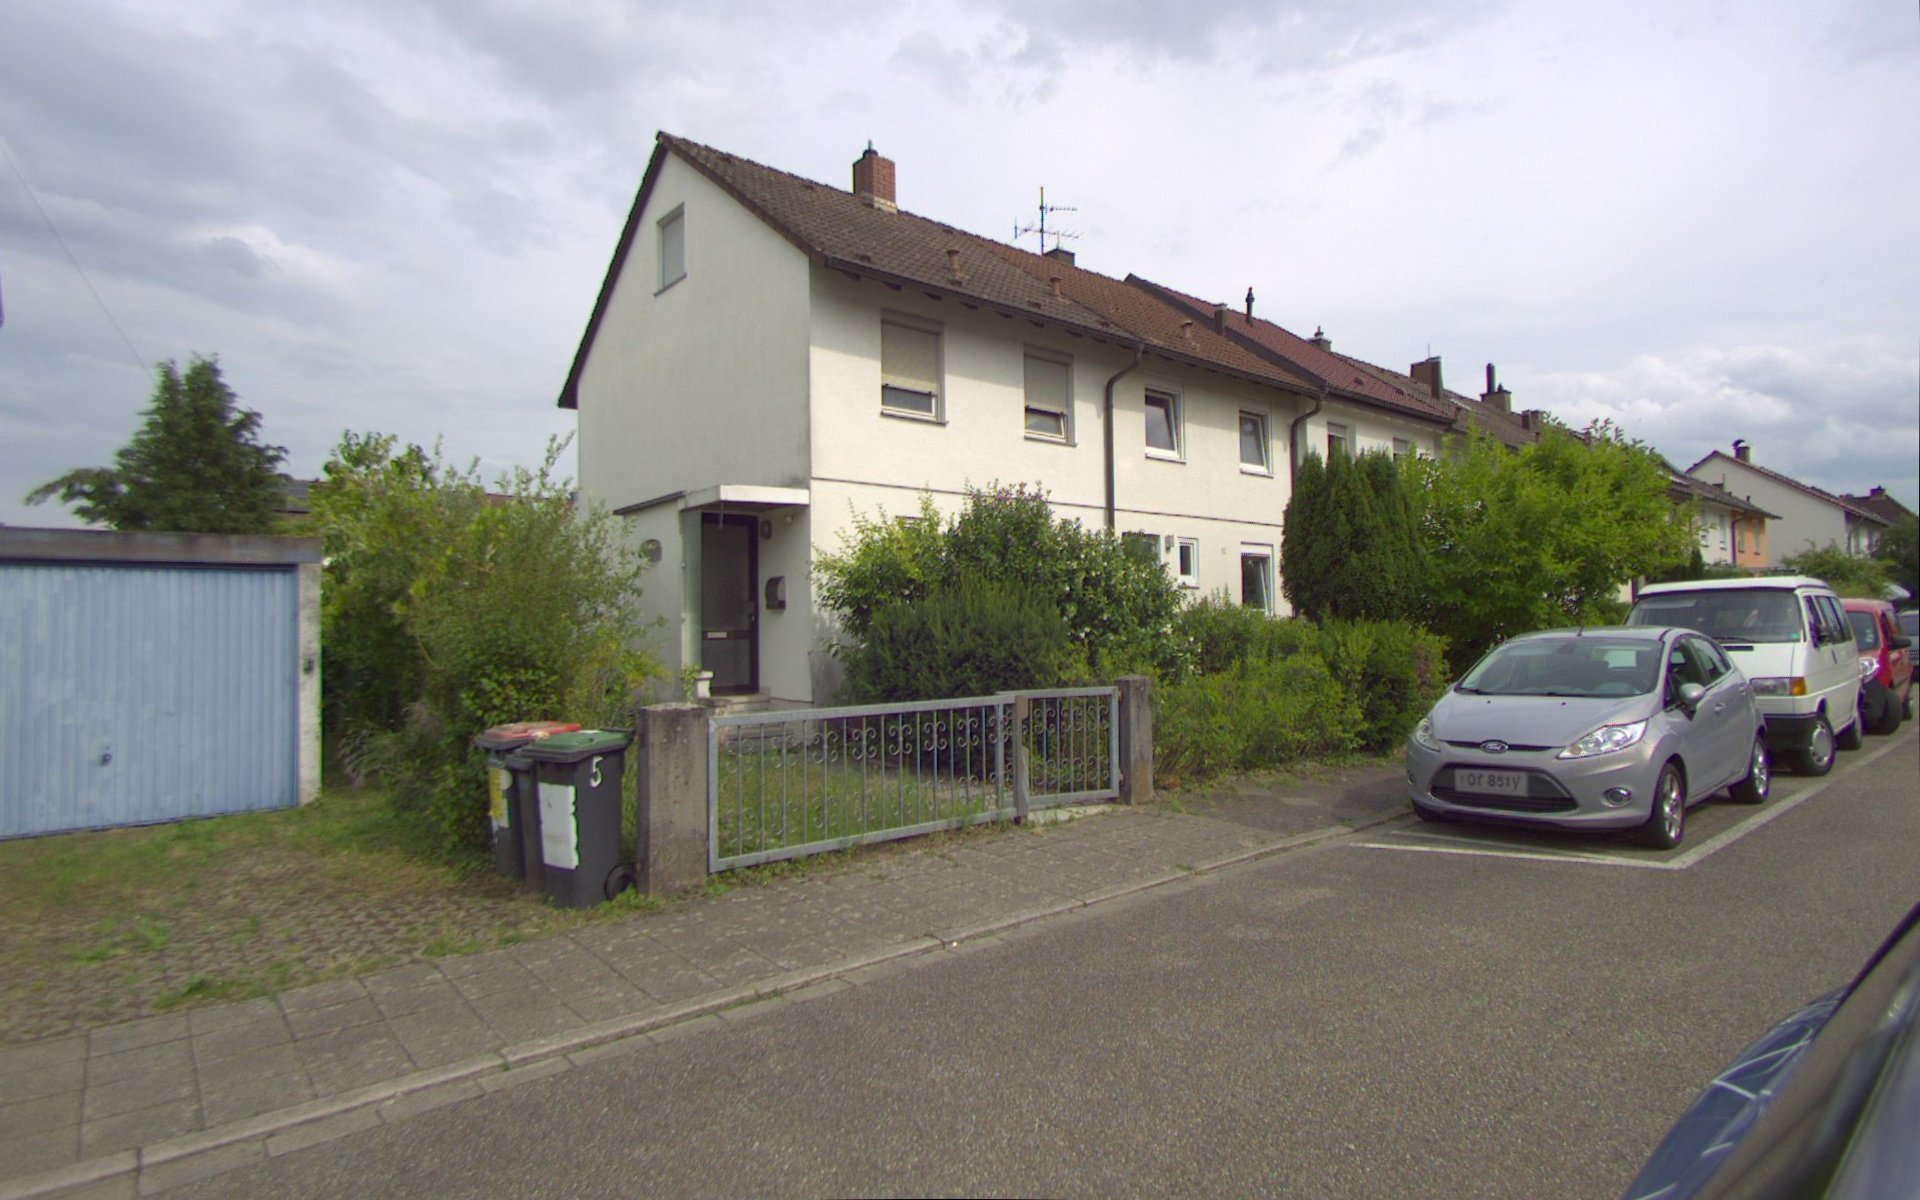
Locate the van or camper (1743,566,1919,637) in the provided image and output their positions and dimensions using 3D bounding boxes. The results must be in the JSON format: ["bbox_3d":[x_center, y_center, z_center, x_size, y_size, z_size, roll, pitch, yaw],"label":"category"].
[{"bbox_3d":[37.793,0.106,43.770,2.491,2.854,5.811,1,-1,-39],"label":"van or camper"}]

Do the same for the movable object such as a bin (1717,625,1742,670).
[{"bbox_3d":[18.409,1.116,24.198,0.403,1.047,0.779,-2,-2,41],"label":"movable object such as a bin"}]

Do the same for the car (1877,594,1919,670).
[{"bbox_3d":[22.955,0.713,23.611,4.388,1.675,1.869,0,-2,-42],"label":"car"}]

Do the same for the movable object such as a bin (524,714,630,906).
[{"bbox_3d":[-2.092,1.118,5.536,0.414,0.933,0.407,1,-2,-45],"label":"movable object such as a bin"}]

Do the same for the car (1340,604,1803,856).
[{"bbox_3d":[4.943,0.777,7.977,4.055,1.478,1.904,0,-1,-40],"label":"car"}]

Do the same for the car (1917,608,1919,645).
[{"bbox_3d":[27.764,0.901,27.719,4.686,1.425,1.869,1,-3,-43],"label":"car"}]

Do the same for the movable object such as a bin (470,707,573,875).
[{"bbox_3d":[-2.714,1.155,6.265,0.457,0.933,0.431,1,-3,-45],"label":"movable object such as a bin"}]

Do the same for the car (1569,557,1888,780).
[{"bbox_3d":[8.708,0.621,11.294,4.666,1.972,2.023,0,-1,-42],"label":"car"}]

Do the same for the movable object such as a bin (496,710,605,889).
[{"bbox_3d":[-2.401,1.139,5.930,0.457,0.933,0.431,1,-3,-45],"label":"movable object such as a bin"}]

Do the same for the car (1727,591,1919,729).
[{"bbox_3d":[12.483,0.745,14.432,4.337,1.672,1.811,0,-1,-44],"label":"car"}]
